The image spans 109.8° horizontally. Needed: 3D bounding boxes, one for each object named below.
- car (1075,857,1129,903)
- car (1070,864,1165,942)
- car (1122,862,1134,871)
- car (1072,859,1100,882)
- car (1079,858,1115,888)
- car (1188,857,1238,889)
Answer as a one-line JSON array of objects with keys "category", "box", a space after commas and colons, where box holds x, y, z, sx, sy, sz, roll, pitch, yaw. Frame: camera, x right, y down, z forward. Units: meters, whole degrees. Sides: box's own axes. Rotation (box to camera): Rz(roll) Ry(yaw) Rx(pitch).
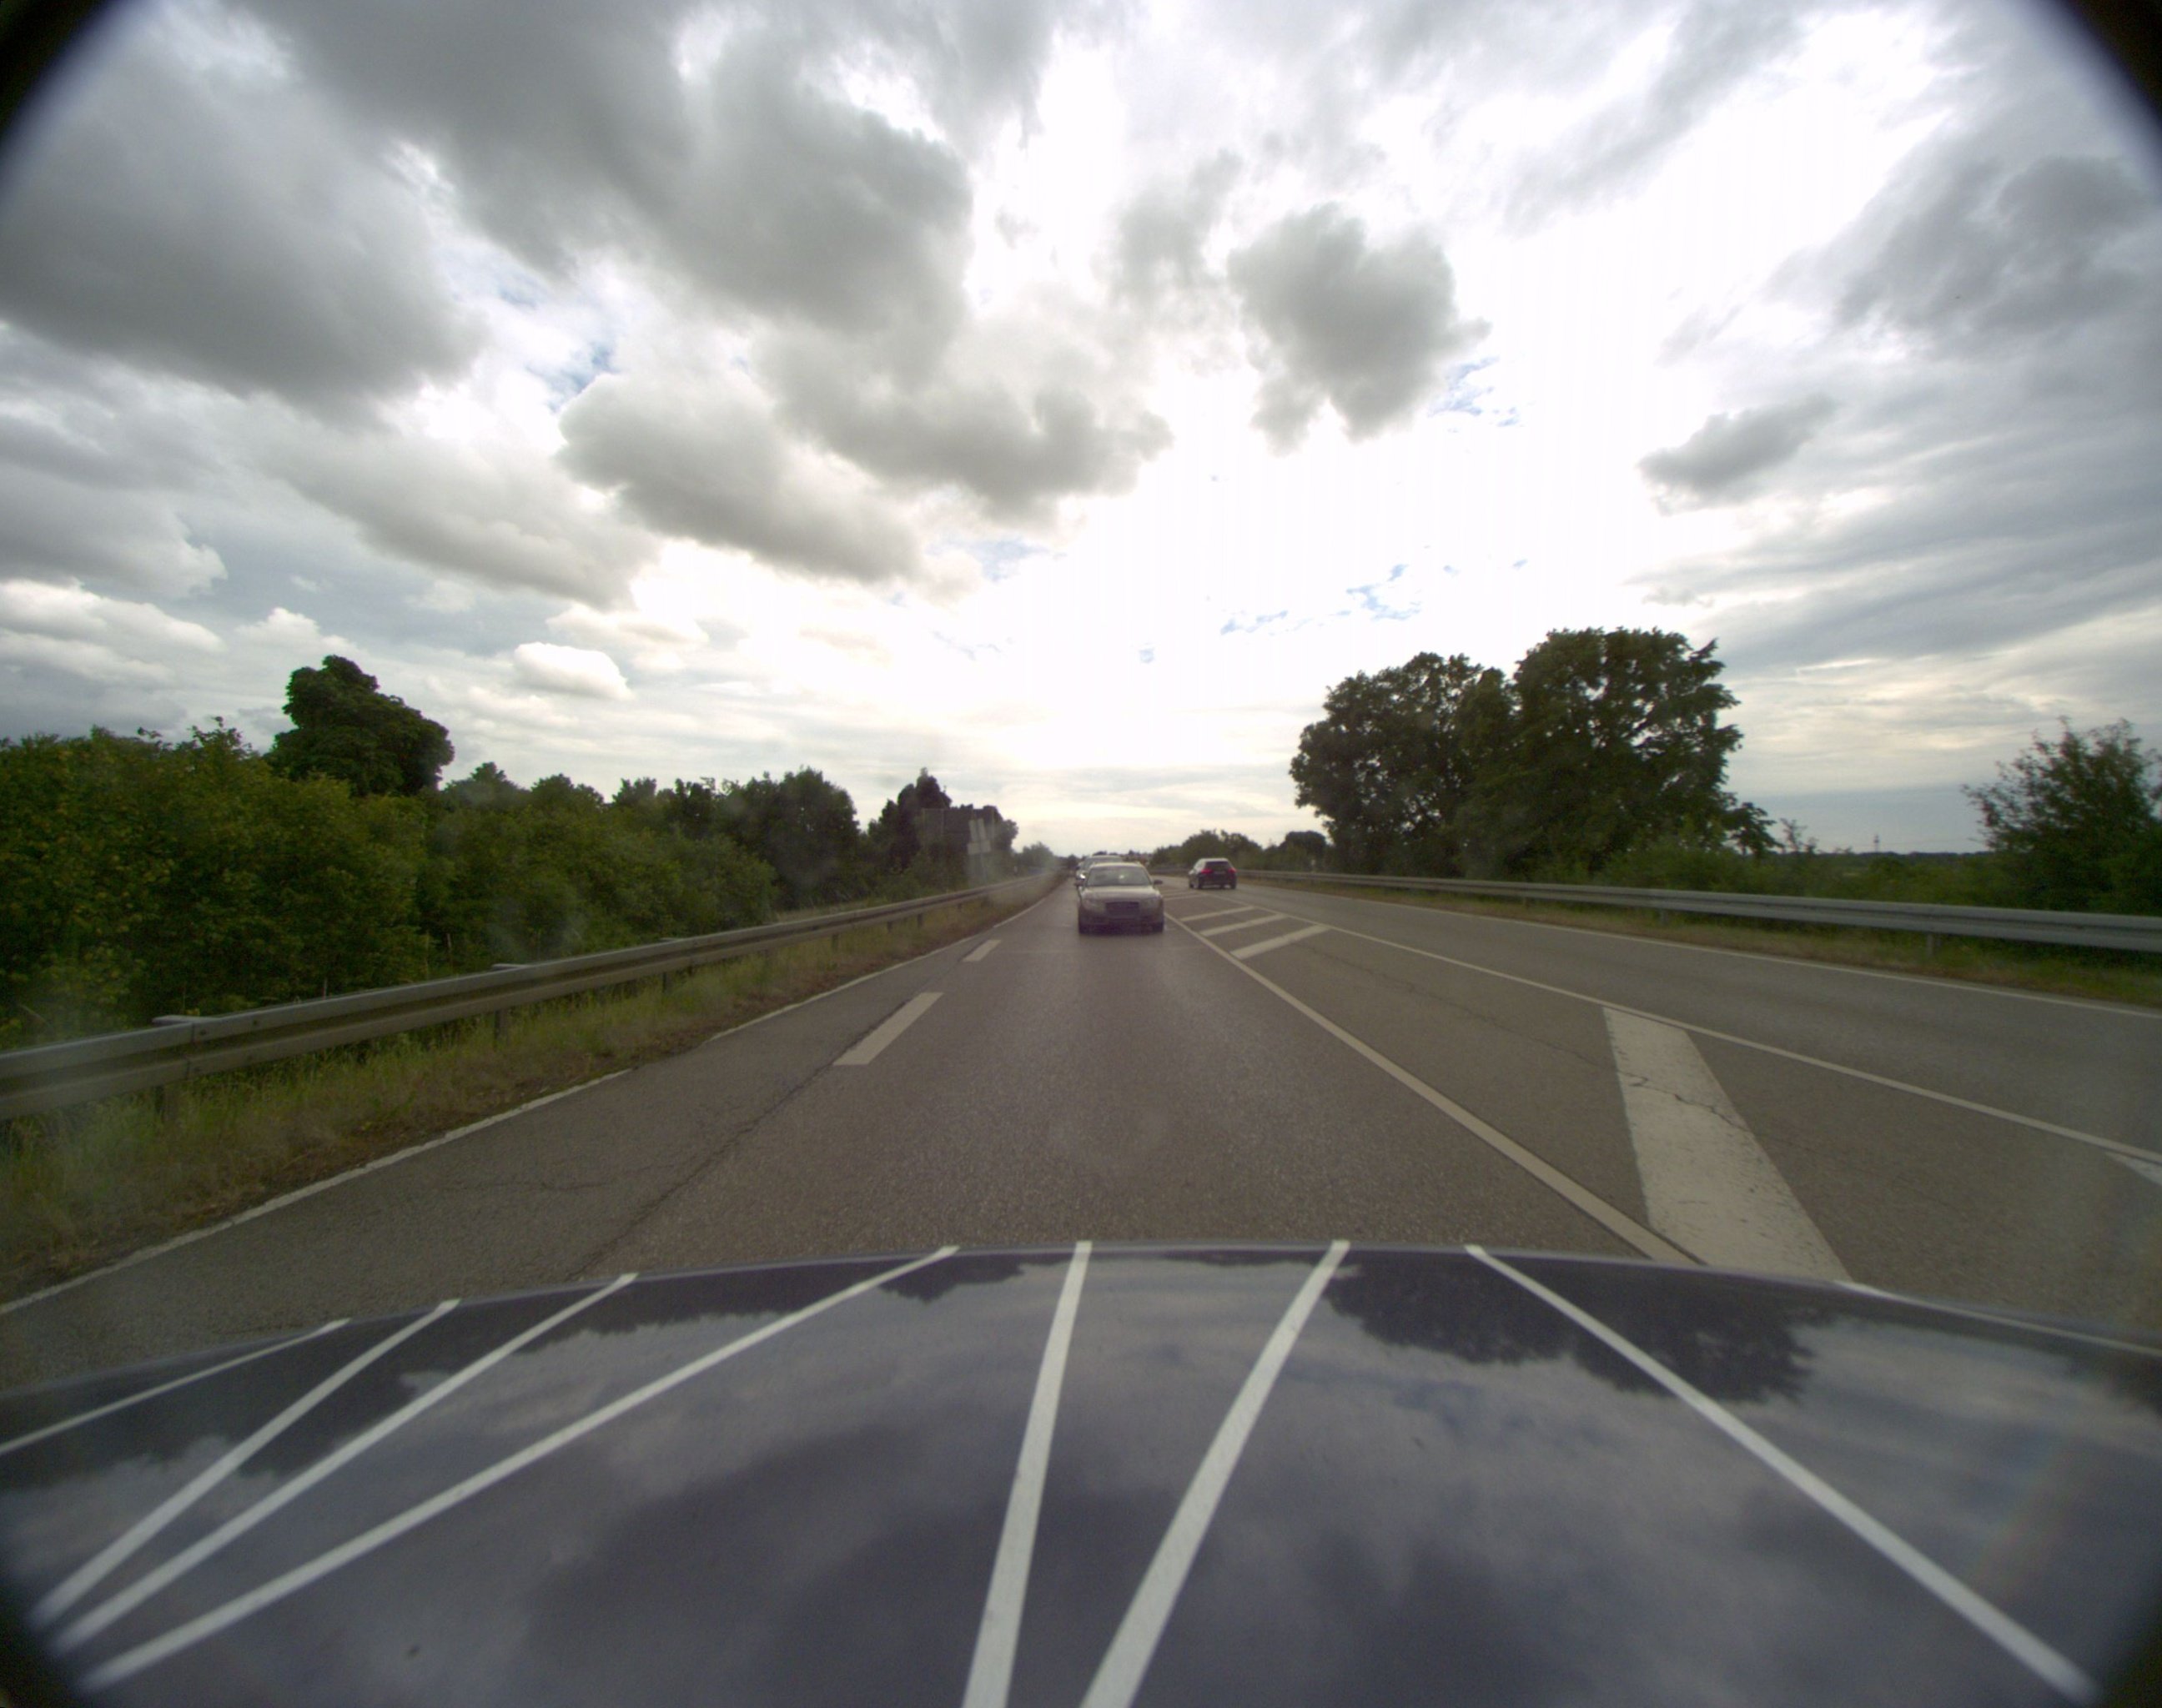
[{"category": "car", "box": [0.759, 0.921, 28.383, 1.834, 1.537, 4.035, -1, 0, 1]}, {"category": "car", "box": [0.733, 0.967, 16.621, 1.784, 1.441, 4.035, -1, 0, 1]}, {"category": "car", "box": [7.987, 2.095, 130.067, 1.834, 1.537, 4.035, -1, 0, 1]}, {"category": "car", "box": [0.377, 1.142, 53.382, 1.834, 1.537, 4.035, -1, 0, 1]}, {"category": "car", "box": [0.881, 1.022, 42.387, 1.834, 1.537, 4.035, -1, 0, 1]}, {"category": "car", "box": [6.371, 0.857, 37.005, 1.675, 1.421, 4.258, -1, 0, 0]}]
